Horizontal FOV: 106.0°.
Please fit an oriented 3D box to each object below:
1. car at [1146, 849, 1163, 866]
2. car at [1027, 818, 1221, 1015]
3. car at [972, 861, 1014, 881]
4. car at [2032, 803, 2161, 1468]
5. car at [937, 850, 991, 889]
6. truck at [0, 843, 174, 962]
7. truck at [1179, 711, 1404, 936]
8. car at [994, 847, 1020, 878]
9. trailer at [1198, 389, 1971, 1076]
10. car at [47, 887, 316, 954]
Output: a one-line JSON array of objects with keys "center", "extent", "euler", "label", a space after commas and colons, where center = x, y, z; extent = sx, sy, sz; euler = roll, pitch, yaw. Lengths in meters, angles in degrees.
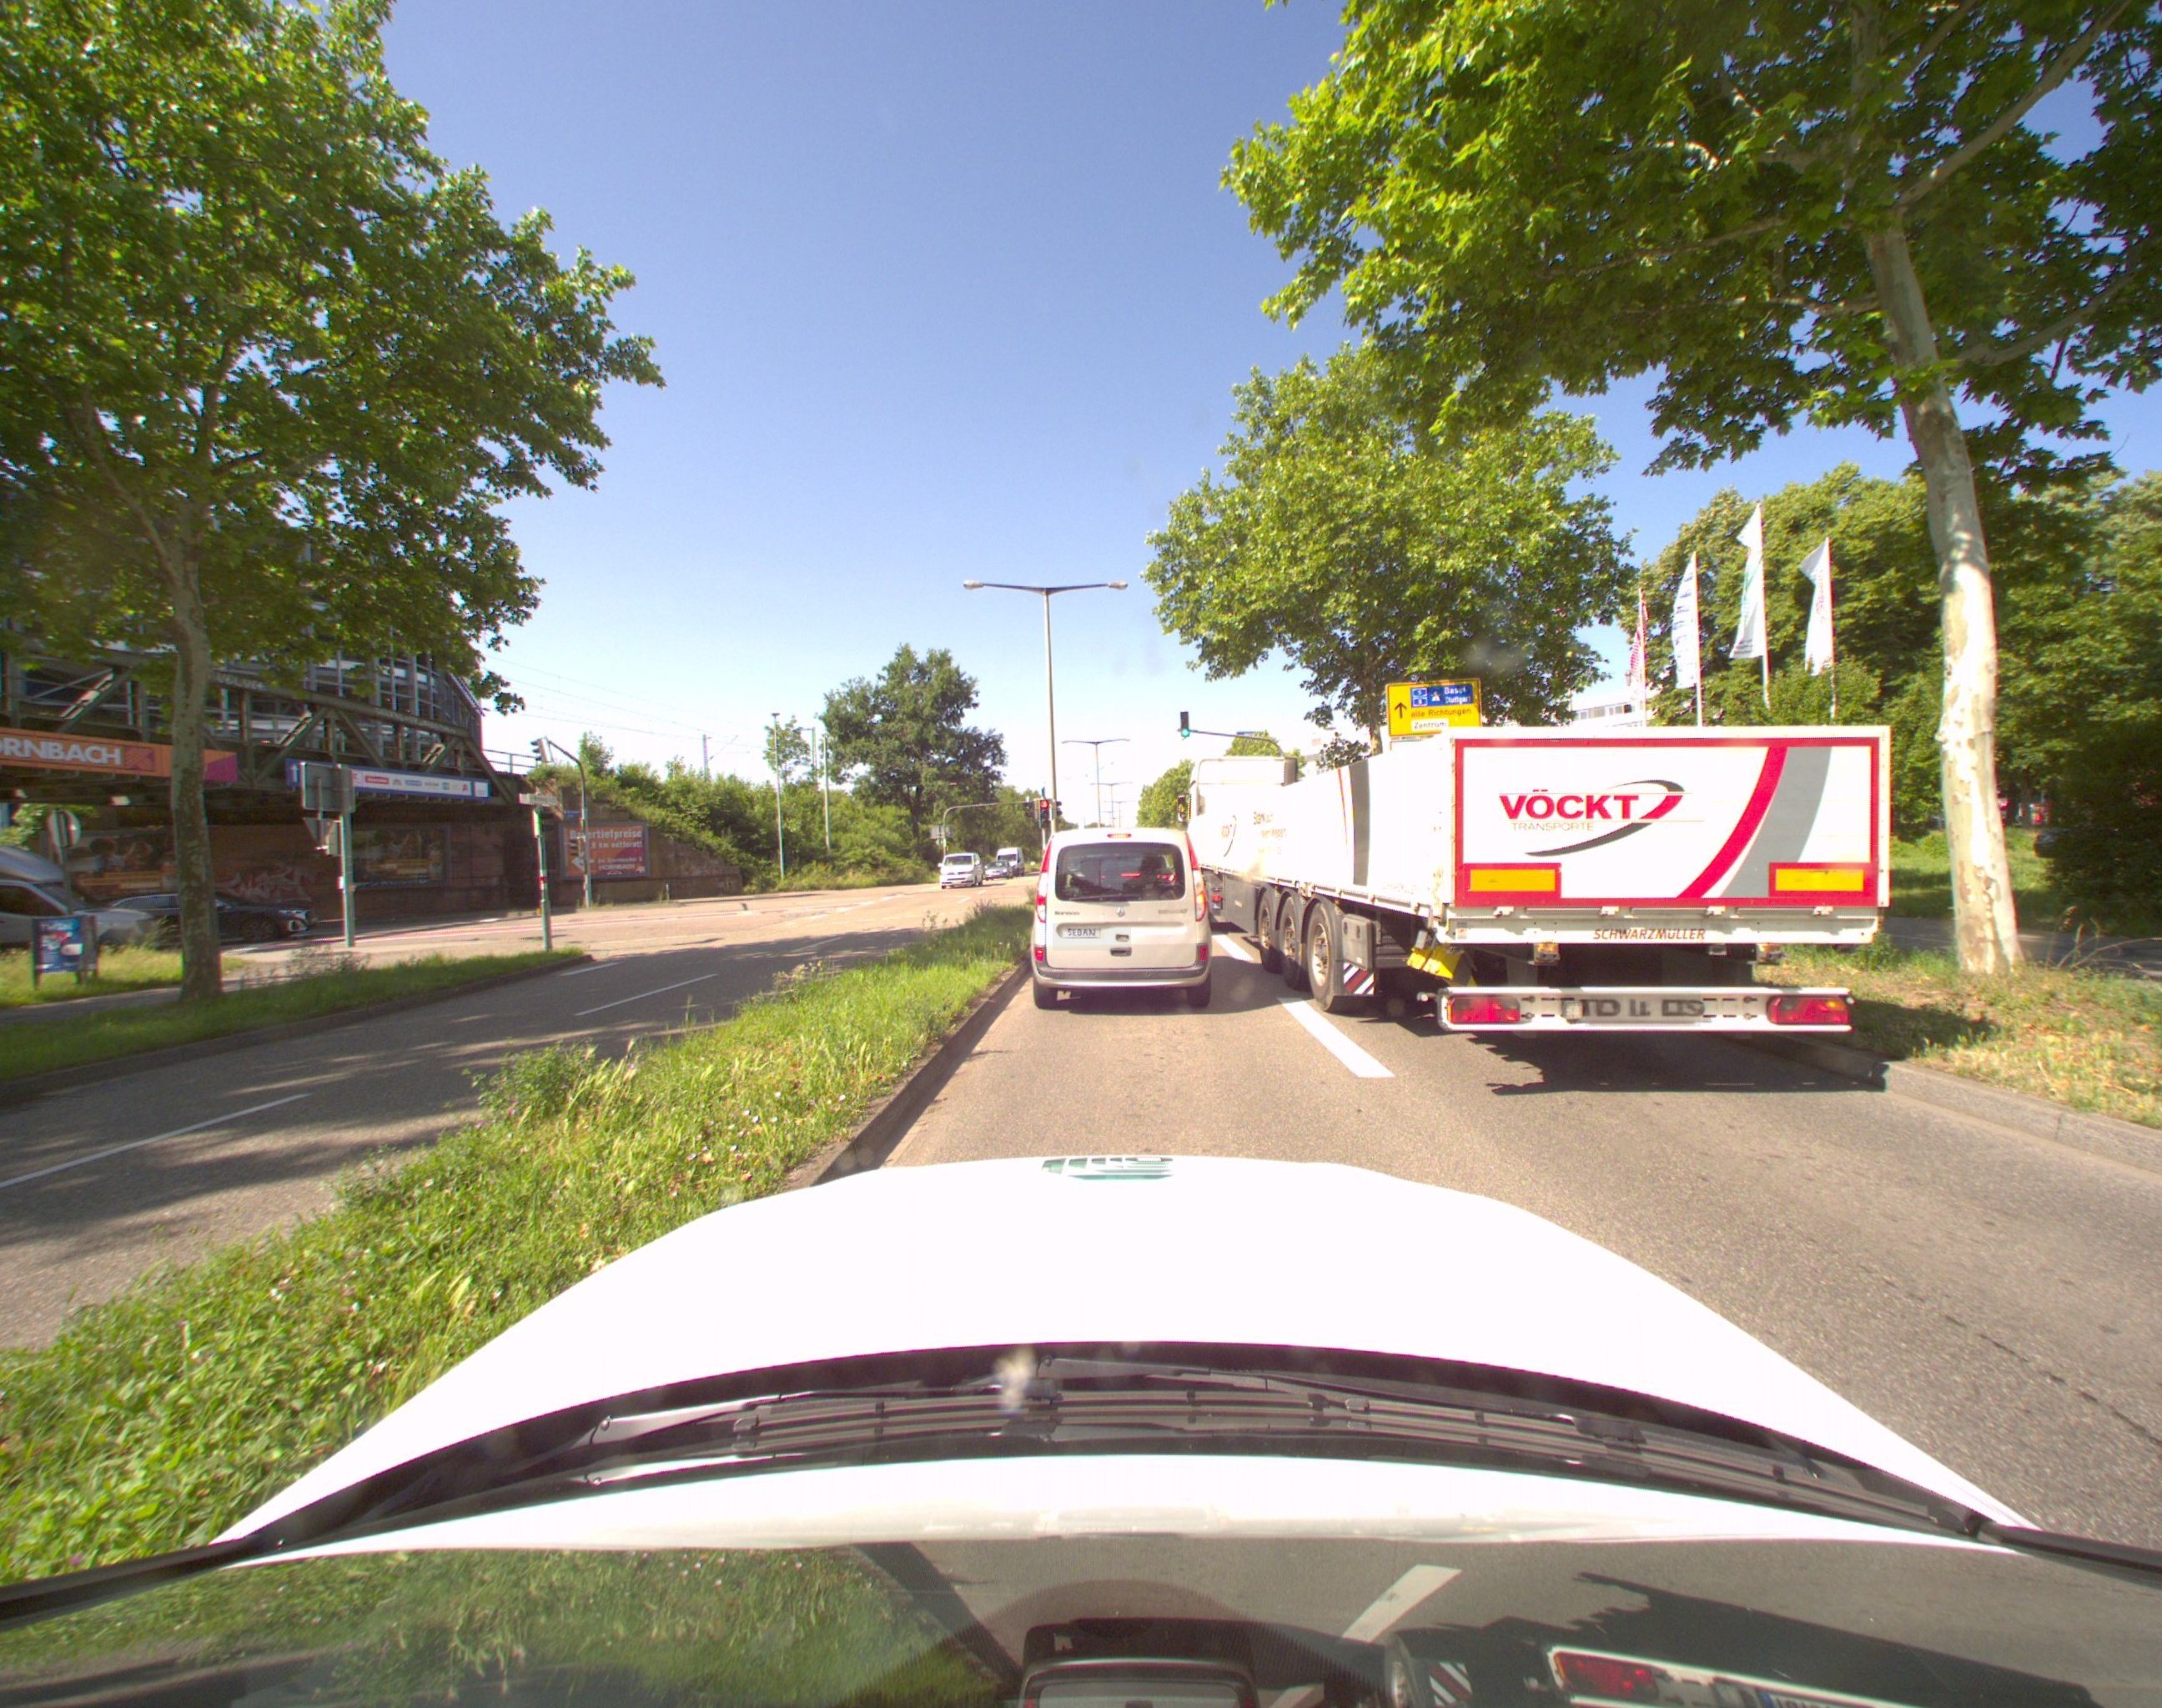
[{"center": [9.298, 0.476, 103.397], "extent": [1.986, 2.014, 4.002], "euler": [-1, 0, 2], "label": "car"}, {"center": [0.468, 0.585, 9.437], "extent": [1.742, 1.772, 3.951], "euler": [-1, 0, 2], "label": "car"}, {"center": [-6.628, 1.244, 61.154], "extent": [1.920, 1.409, 4.193], "euler": [-1, 0, -24], "label": "car"}, {"center": [3.036, 0.584, 0.178], "extent": [1.654, 1.436, 3.523], "euler": [-1, 0, 4], "label": "car"}, {"center": [-6.423, 0.837, 45.198], "extent": [1.986, 1.891, 4.989], "euler": [-4, 0, 2], "label": "car"}, {"center": [-26.215, 1.144, 18.986], "extent": [6.431, 2.712, 1.979], "euler": [-1, -1, -34], "label": "truck"}, {"center": [4.020, -0.498, 17.574], "extent": [3.060, 3.758, 7.479], "euler": [-1, 0, 2], "label": "truck"}, {"center": [-6.549, 0.740, 72.547], "extent": [2.054, 2.614, 5.862], "euler": [-1, 0, -3], "label": "car"}, {"center": [3.633, -0.631, 10.629], "extent": [3.004, 3.740, 12.248], "euler": [-1, 0, 3], "label": "trailer"}, {"center": [-26.127, 1.864, 23.958], "extent": [5.074, 1.596, 1.510], "euler": [-1, -1, -35], "label": "car"}]
